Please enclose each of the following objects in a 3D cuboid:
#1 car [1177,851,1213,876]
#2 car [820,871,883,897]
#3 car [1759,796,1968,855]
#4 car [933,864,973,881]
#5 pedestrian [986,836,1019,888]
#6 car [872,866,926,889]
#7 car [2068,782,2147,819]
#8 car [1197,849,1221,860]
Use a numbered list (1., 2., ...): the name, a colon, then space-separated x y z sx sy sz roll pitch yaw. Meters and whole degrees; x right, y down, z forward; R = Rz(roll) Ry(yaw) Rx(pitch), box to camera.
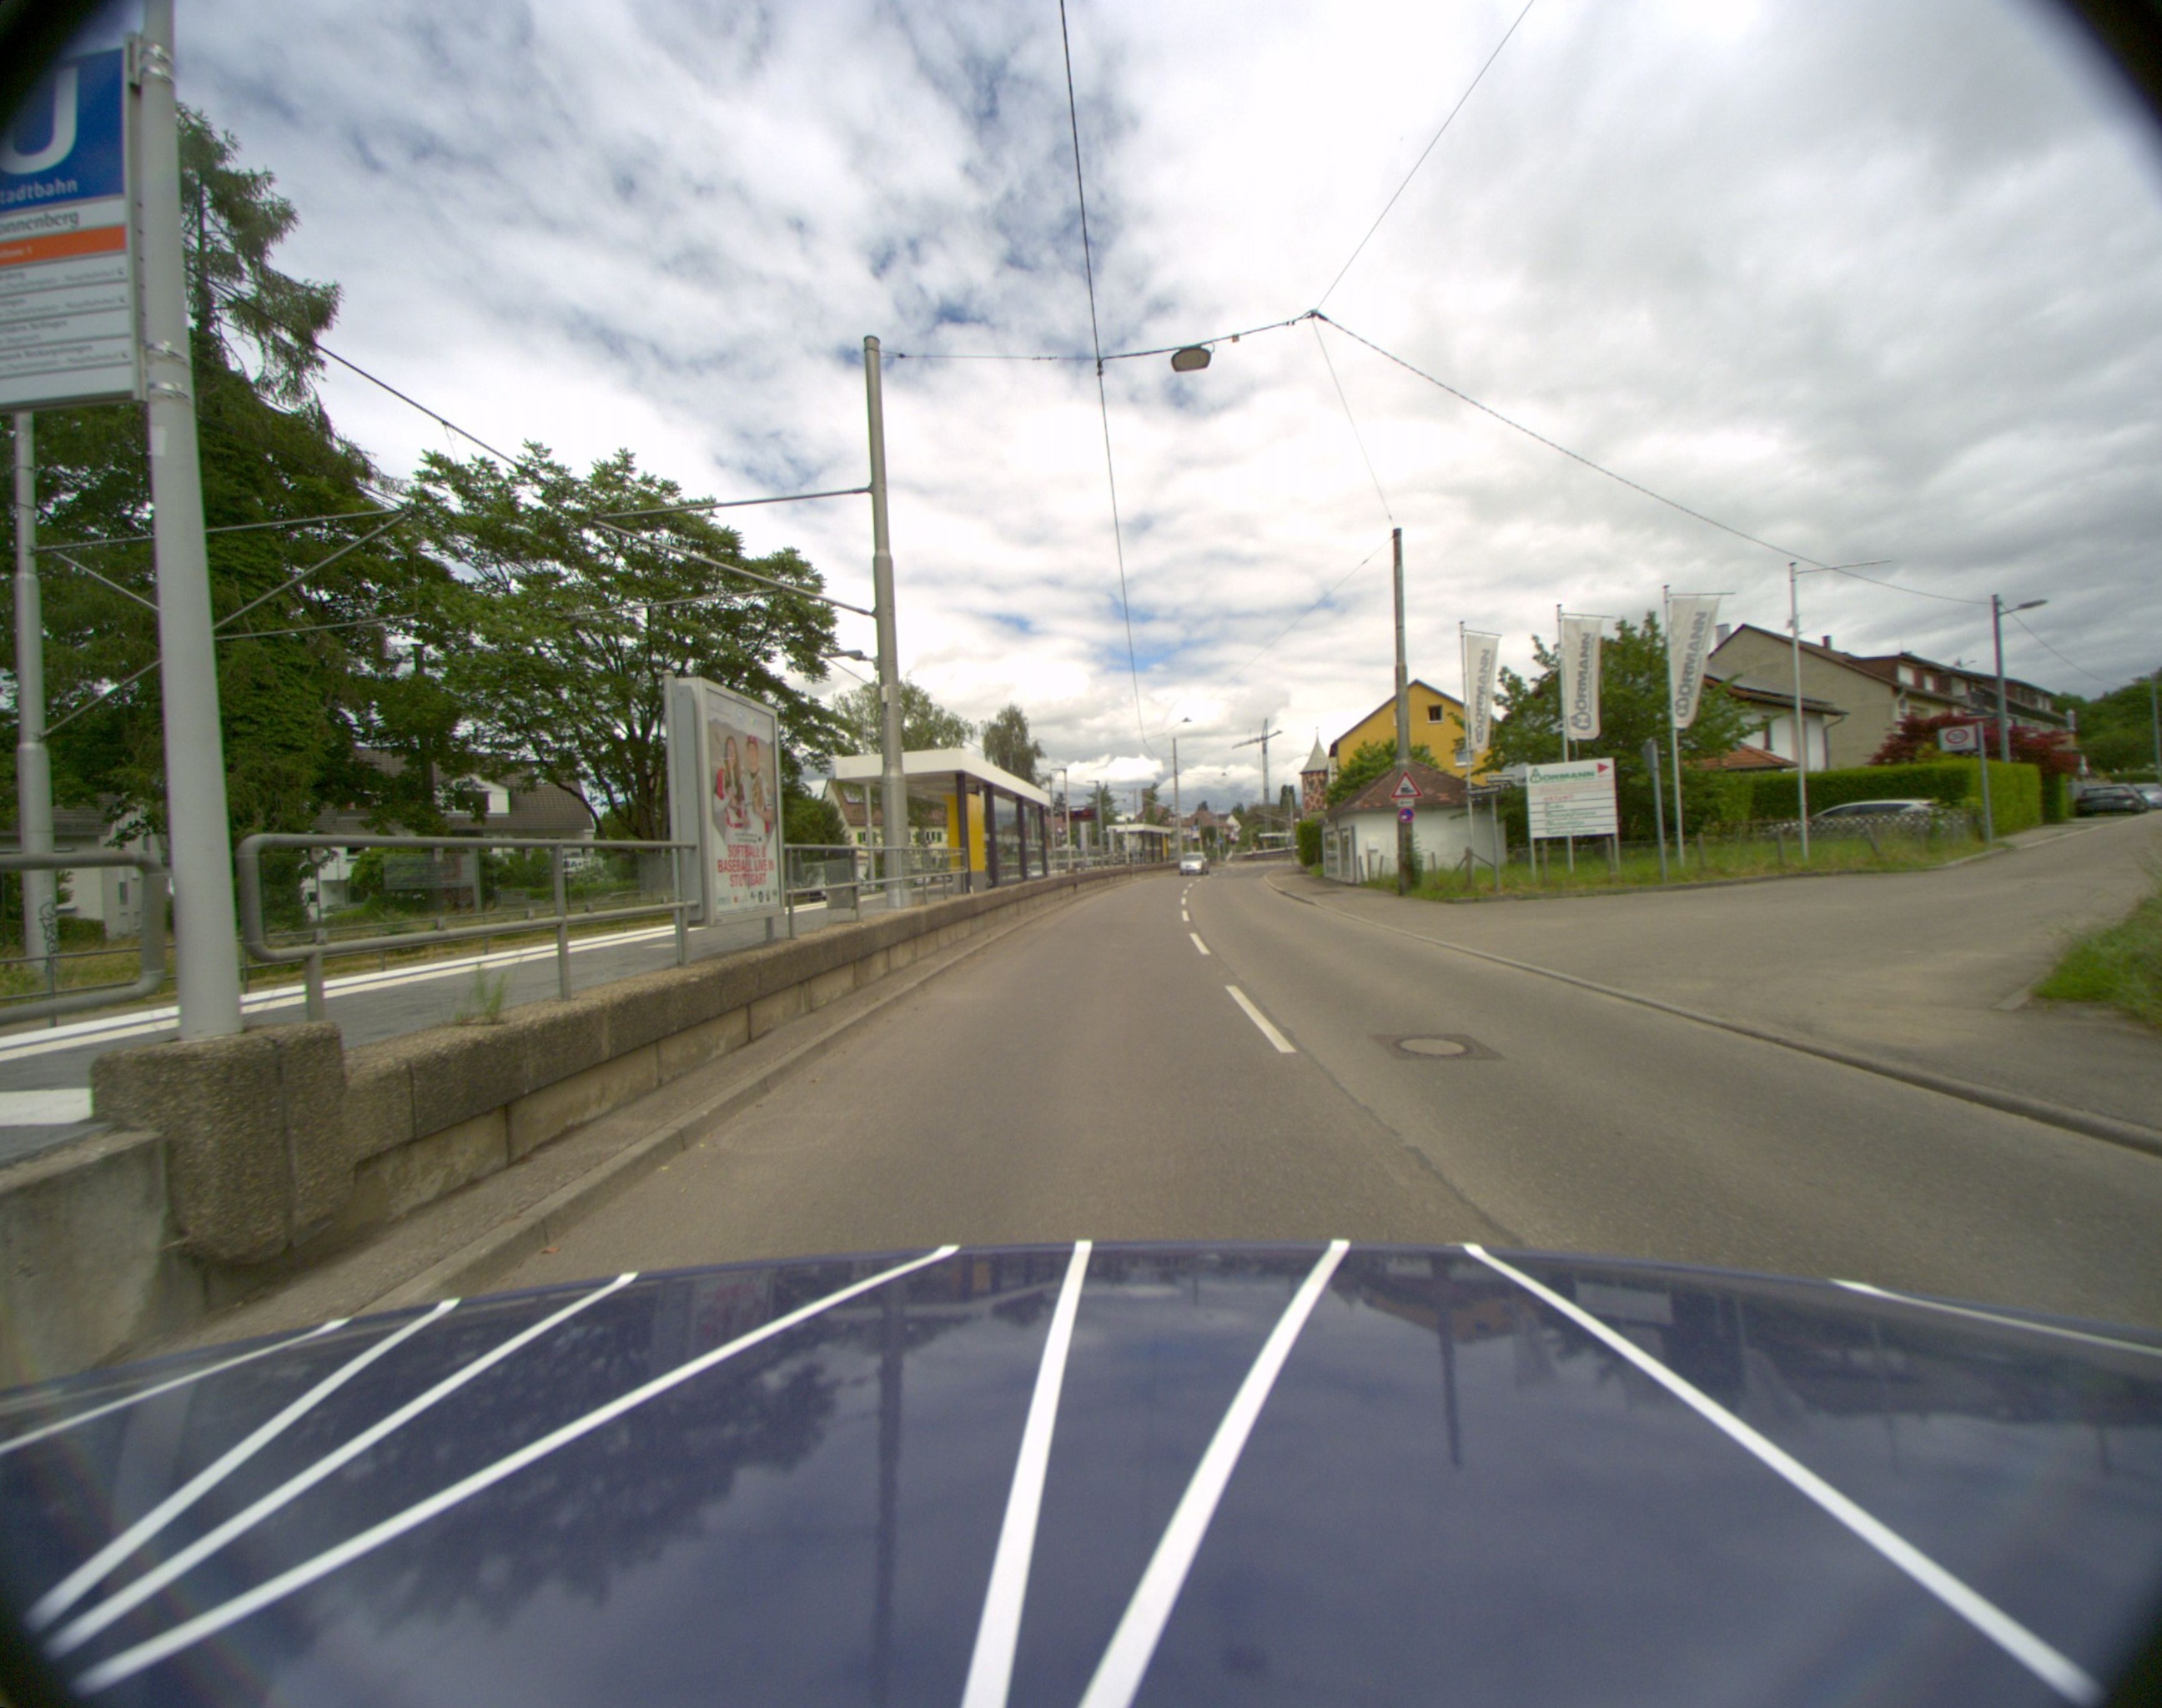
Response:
1. car: 8.290 0.667 54.859 1.731 1.639 4.231 -3 0 19
2. car: -14.287 1.869 47.474 1.997 1.341 4.003 -3 0 12
3. car: 23.662 -0.816 23.147 2.002 1.525 3.992 -4 1 -26
4. car: -13.055 1.869 77.530 1.995 1.426 4.006 -3 0 27
5. pedestrian: -2.045 0.205 19.777 0.655 1.304 0.692 -3 1 7
6. car: -12.531 1.617 52.507 1.997 1.341 4.003 -3 0 12
7. car: 47.676 -2.494 35.280 4.006 1.473 1.995 -4 0 -35
8. car: 18.629 0.118 111.019 1.736 1.454 4.221 -3 0 -16
